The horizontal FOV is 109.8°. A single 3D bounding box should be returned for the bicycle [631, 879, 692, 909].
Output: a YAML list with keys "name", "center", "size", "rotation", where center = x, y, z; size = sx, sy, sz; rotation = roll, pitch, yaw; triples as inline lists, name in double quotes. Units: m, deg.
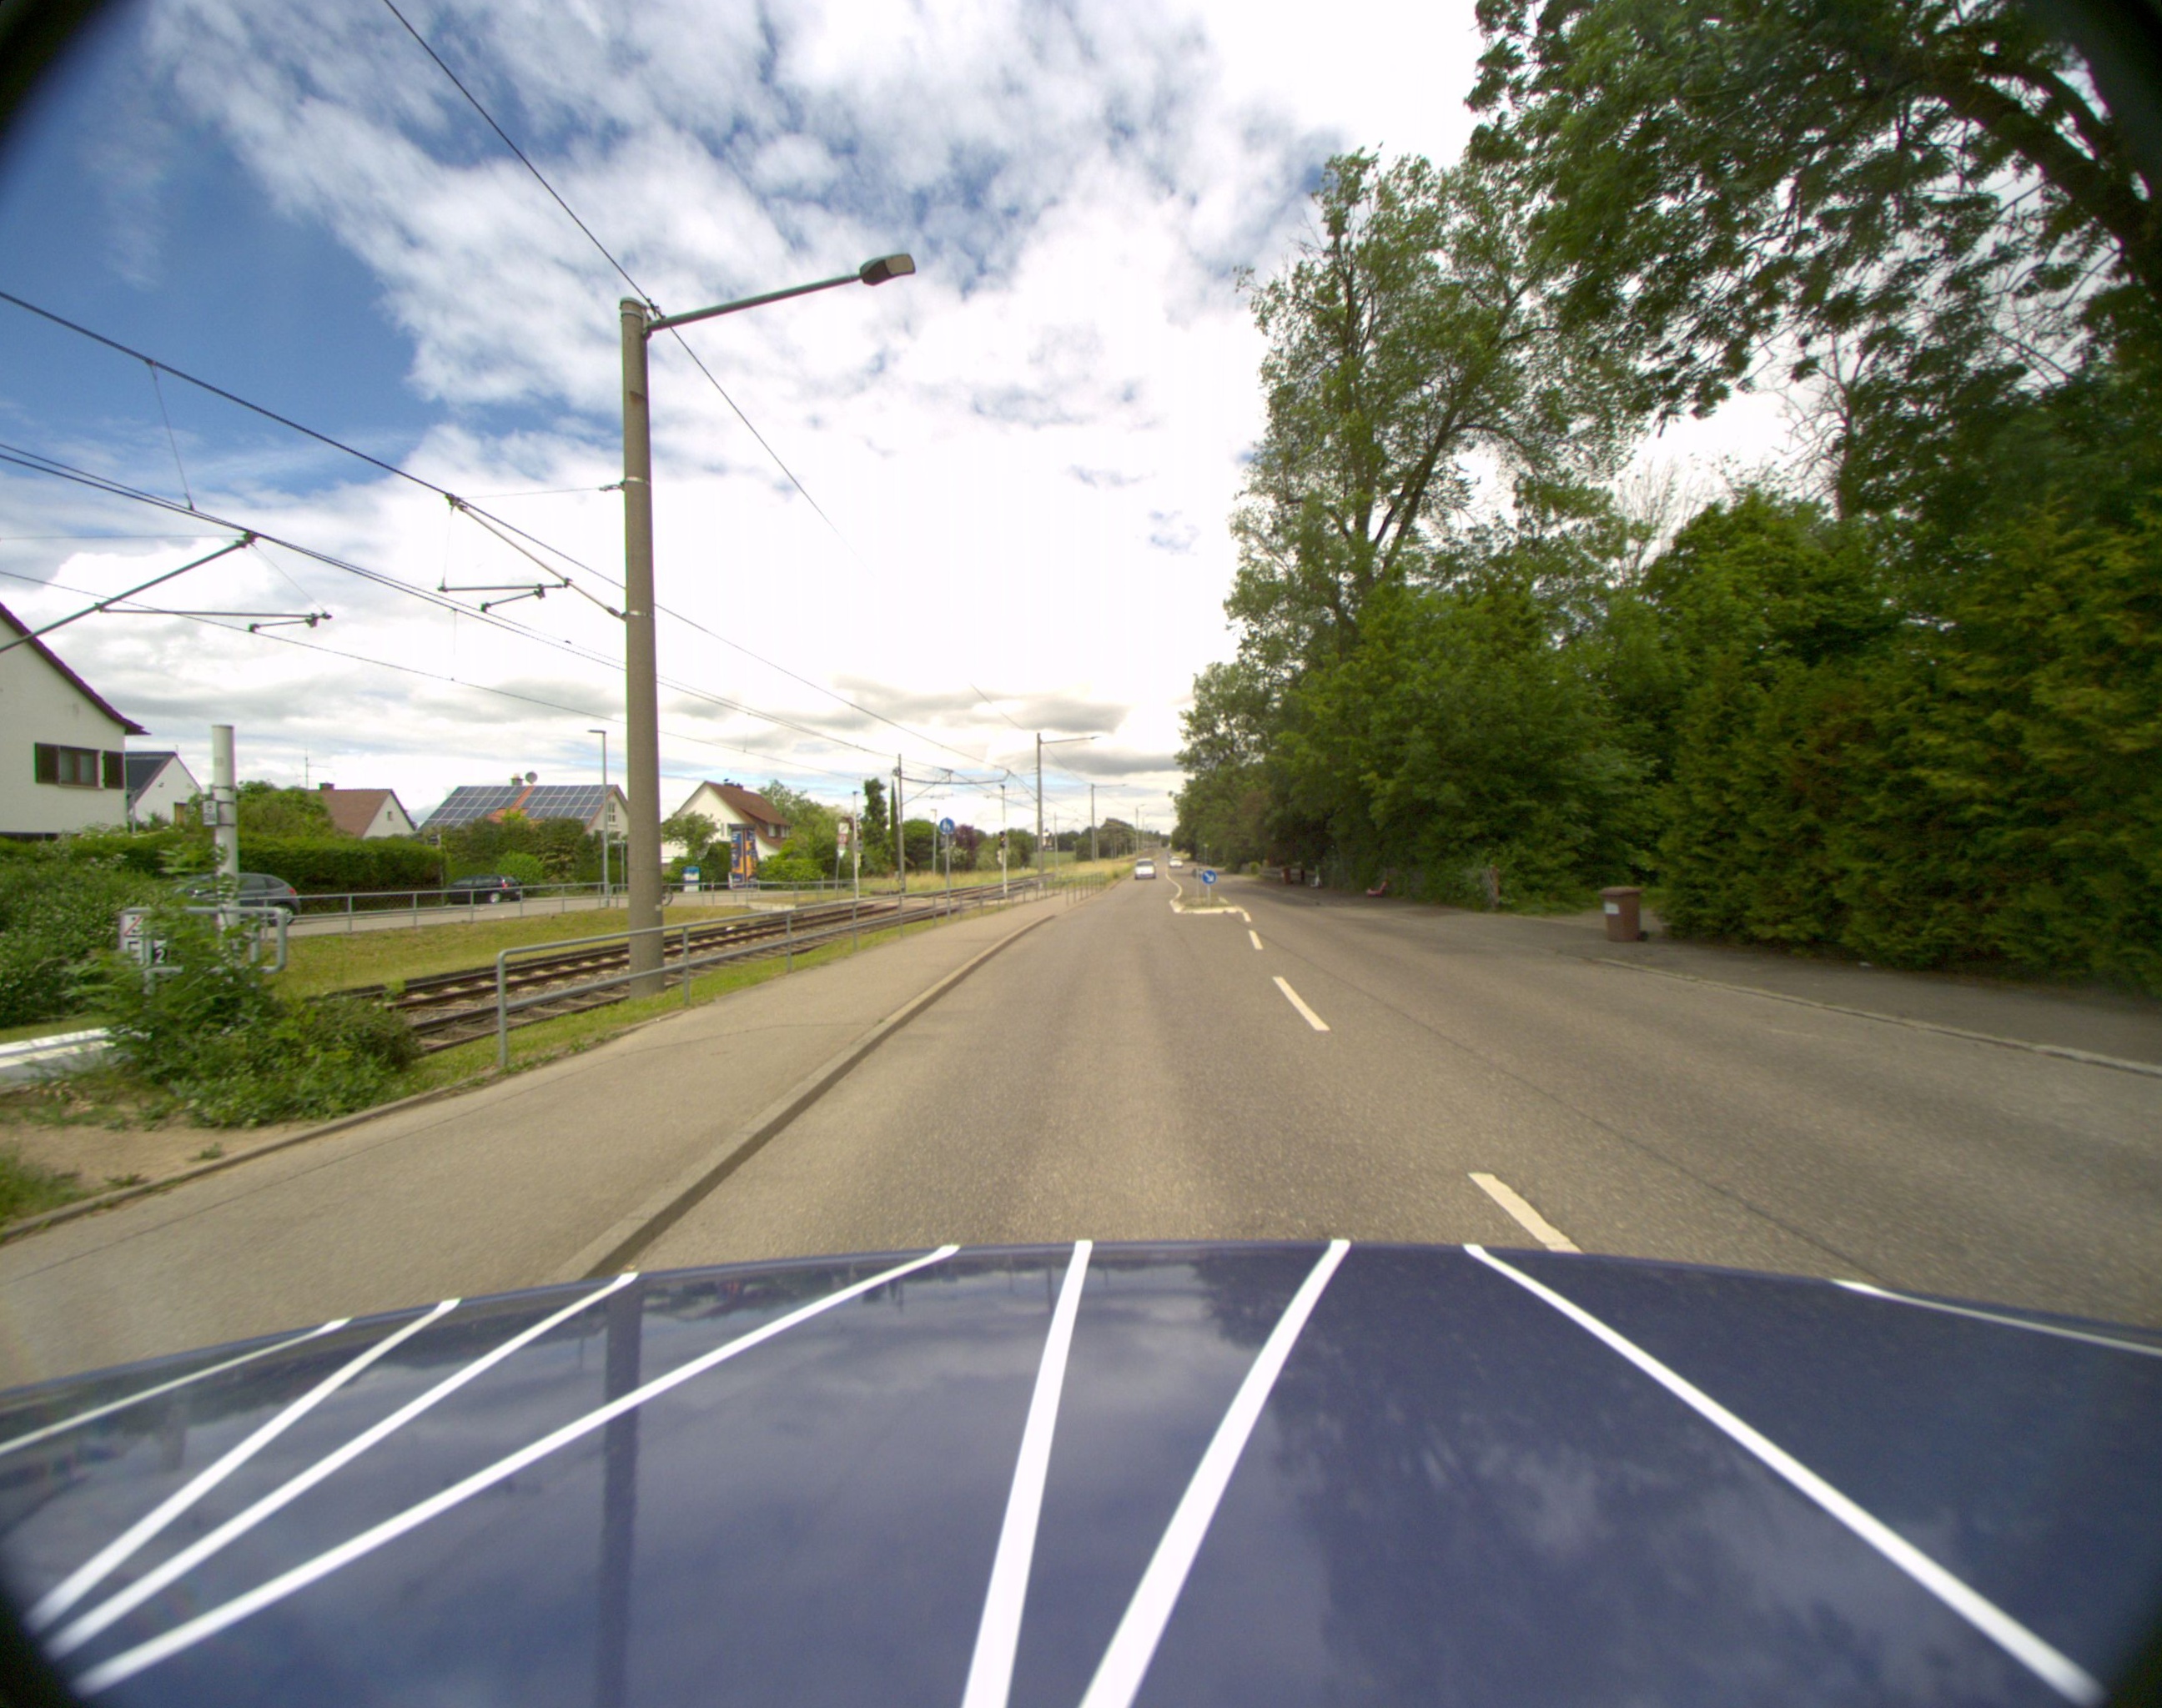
- name: "bicycle"
  center: [-15.936, 1.483, 28.959]
  size: [0.539, 1.039, 2.542]
  rotation: [6, -1, 7]

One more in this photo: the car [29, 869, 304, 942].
- name: "car"
  center: [-22.771, 1.212, 19.202]
  size: [1.887, 1.513, 4.002]
  rotation: [-1, 0, 7]

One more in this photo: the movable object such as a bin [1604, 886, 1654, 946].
- name: "movable object such as a bin"
  center: [9.246, 1.037, 12.827]
  size: [0.464, 0.925, 0.430]
  rotation: [-5, 2, -11]

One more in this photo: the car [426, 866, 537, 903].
- name: "car"
  center: [-28.972, 1.458, 36.828]
  size: [3.731, 1.614, 1.824]
  rotation: [-2, 1, -8]

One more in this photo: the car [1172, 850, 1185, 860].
- name: "car"
  center: [13.625, 0.154, 106.093]
  size: [1.697, 1.422, 3.788]
  rotation: [0, 0, 7]

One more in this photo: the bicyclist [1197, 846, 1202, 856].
- name: "bicyclist"
  center: [17.836, -0.421, 114.468]
  size: [0.780, 1.540, 0.870]
  rotation: [-1, 1, 6]

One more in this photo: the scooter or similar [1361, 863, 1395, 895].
- name: "scooter or similar"
  center: [10.409, 0.861, 26.659]
  size: [0.479, 1.074, 1.213]
  rotation: [-3, 0, -12]

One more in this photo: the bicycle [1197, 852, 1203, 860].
- name: "bicycle"
  center: [17.917, 0.259, 114.605]
  size: [0.756, 1.219, 2.309]
  rotation: [0, 1, 6]

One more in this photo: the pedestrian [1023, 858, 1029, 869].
- name: "pedestrian"
  center: [-7.860, 1.342, 108.677]
  size: [0.598, 1.422, 0.667]
  rotation: [-3, 1, 25]

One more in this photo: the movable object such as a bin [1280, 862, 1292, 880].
- name: "movable object such as a bin"
  center: [10.896, 0.909, 40.420]
  size: [0.514, 0.939, 0.569]
  rotation: [-3, 1, 6]

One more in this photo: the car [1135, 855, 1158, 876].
- name: "car"
  center: [5.333, 0.905, 61.650]
  size: [1.642, 1.510, 3.870]
  rotation: [-3, 1, 7]

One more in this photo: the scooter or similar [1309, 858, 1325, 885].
- name: "scooter or similar"
  center: [10.826, 0.785, 34.905]
  size: [0.409, 1.192, 1.640]
  rotation: [-1, 1, 7]
